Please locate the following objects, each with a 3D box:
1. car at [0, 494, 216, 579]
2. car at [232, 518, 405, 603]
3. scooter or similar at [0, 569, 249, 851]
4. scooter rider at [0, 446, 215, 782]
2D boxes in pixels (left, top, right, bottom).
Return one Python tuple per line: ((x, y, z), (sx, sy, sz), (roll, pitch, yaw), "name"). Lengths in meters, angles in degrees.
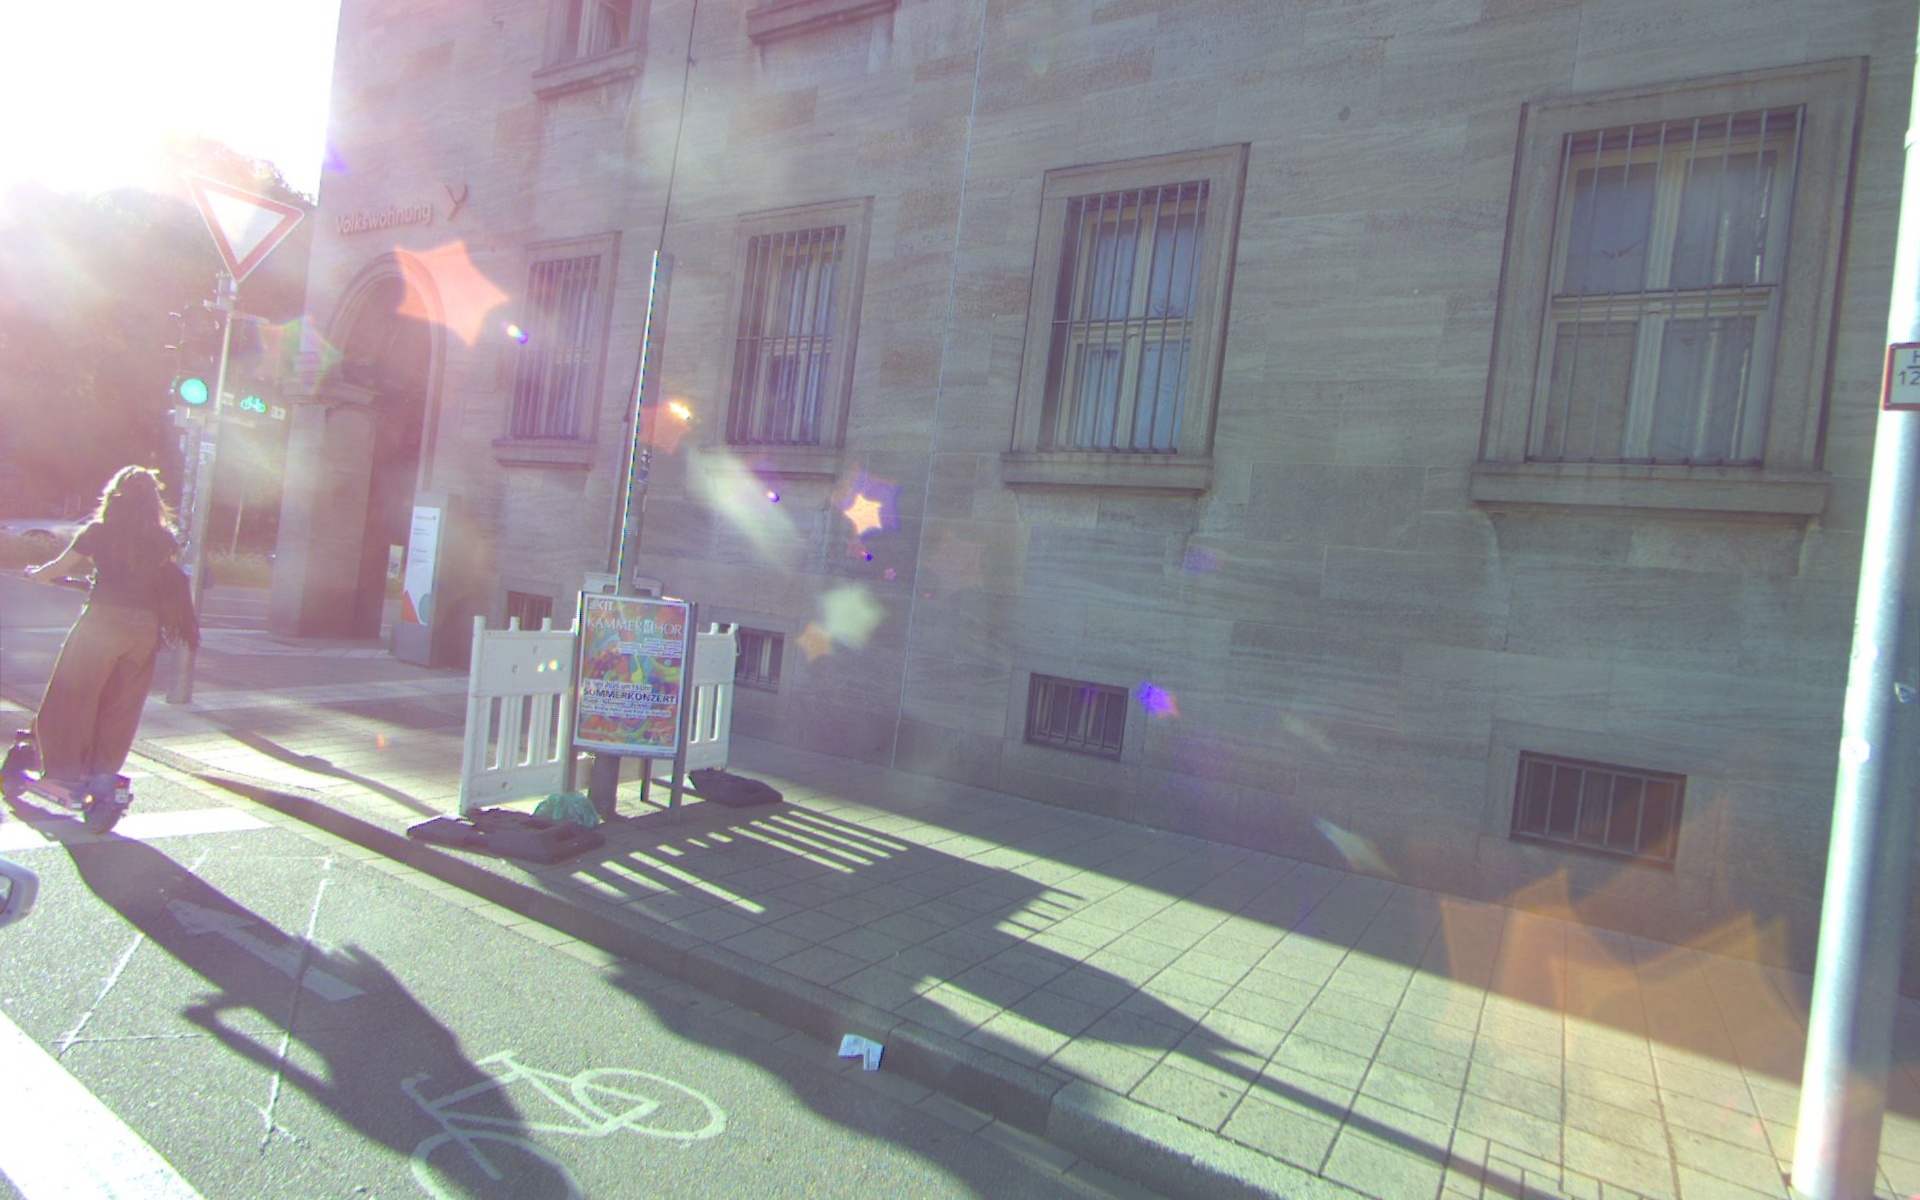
((-23.343, -1.697, 27.288), (1.967, 1.533, 4.586), (6, -2, 32), "car")
((-20.141, -1.205, 31.742), (1.968, 2.036, 3.994), (6, -2, 33), "car")
((-4.207, 0.496, 5.012), (1.251, 1.164, 0.573), (6, 0, 33), "scooter or similar")
((-4.322, 0.065, 5.107), (0.567, 1.581, 0.546), (7, 0, 30), "scooter rider")
